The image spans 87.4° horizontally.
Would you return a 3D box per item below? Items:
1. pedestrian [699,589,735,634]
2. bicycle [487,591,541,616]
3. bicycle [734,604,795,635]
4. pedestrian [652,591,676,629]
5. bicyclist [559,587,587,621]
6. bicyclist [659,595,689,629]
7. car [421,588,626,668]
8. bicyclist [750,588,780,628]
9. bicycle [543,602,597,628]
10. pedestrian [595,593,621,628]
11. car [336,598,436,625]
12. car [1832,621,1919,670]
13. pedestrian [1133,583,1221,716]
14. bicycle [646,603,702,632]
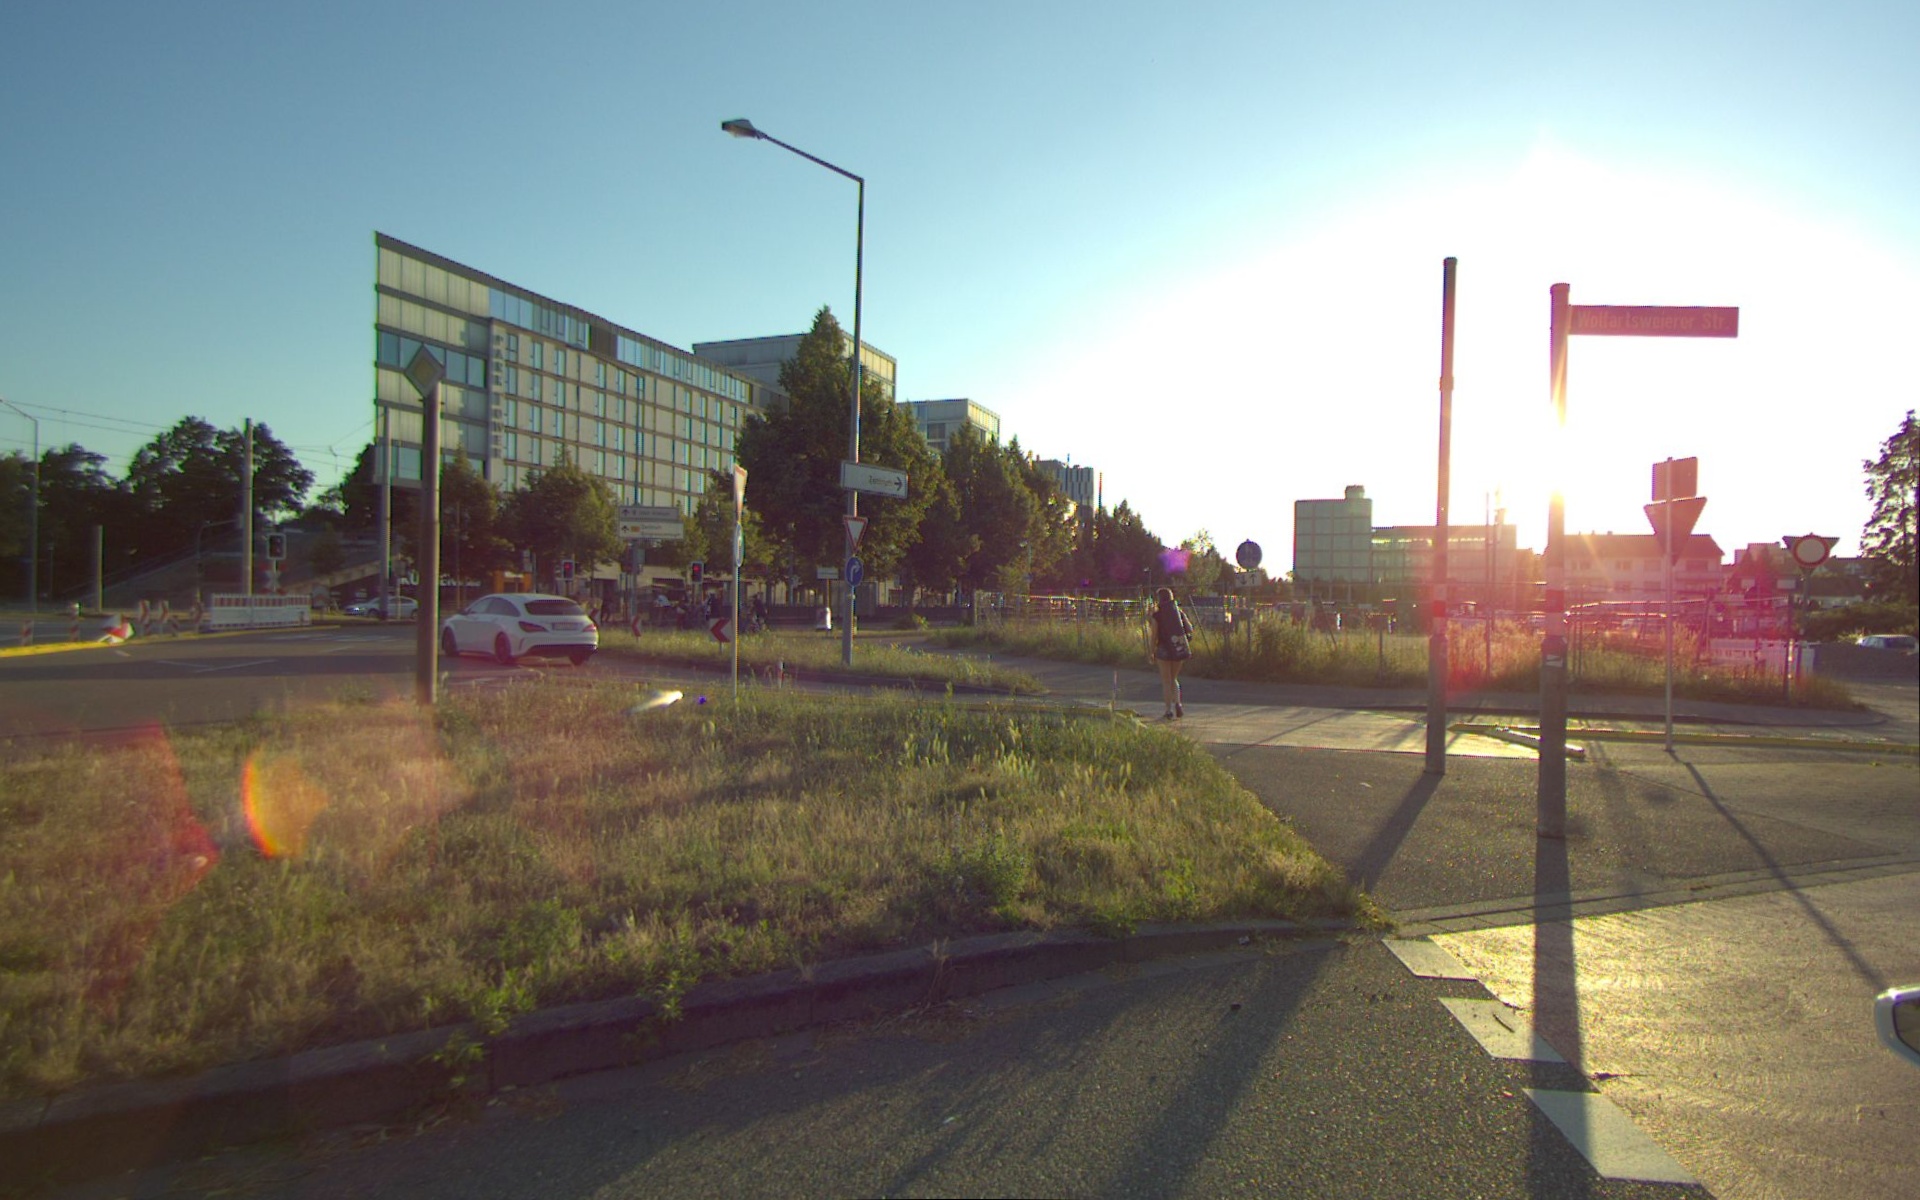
[{"bbox_3d":[-10.146,0.466,41.863,1.146,1.851,0.973,1,0,44],"label":"pedestrian"},{"bbox_3d":[-21.536,0.165,48.524,2.360,1.182,0.755,1,0,13],"label":"bicycle"},{"bbox_3d":[-8.063,0.799,41.490,2.361,1.182,0.755,1,0,15],"label":"bicycle"},{"bbox_3d":[-13.882,0.457,47.081,0.787,1.730,0.879,1,0,-37],"label":"pedestrian"},{"bbox_3d":[-18.429,0.187,47.794,0.958,1.545,0.755,1,0,10],"label":"bicyclist"},{"bbox_3d":[-12.275,0.521,43.105,0.960,1.412,0.754,1,0,24],"label":"bicyclist"},{"bbox_3d":[-9.348,0.563,21.357,4.584,1.472,2.067,1,-2,39],"label":"car"},{"bbox_3d":[-8.057,0.323,41.463,0.958,1.634,0.755,1,0,15],"label":"bicyclist"},{"bbox_3d":[-18.557,0.699,47.814,2.360,1.182,0.755,1,0,10],"label":"bicycle"},{"bbox_3d":[-17.777,0.540,50.729,0.870,1.730,0.795,1,0,16],"label":"pedestrian"},{"bbox_3d":[-35.435,0.718,62.176,1.962,1.565,5.198,1,0,25],"label":"car"},{"bbox_3d":[35.562,1.696,38.448,1.961,1.728,4.000,1,0,20],"label":"car"},{"bbox_3d":[2.896,0.646,13.463,0.831,1.709,0.885,1,0,-13],"label":"pedestrian"},{"bbox_3d":[-12.277,0.751,43.130,2.363,1.182,0.754,1,0,24],"label":"bicycle"}]
